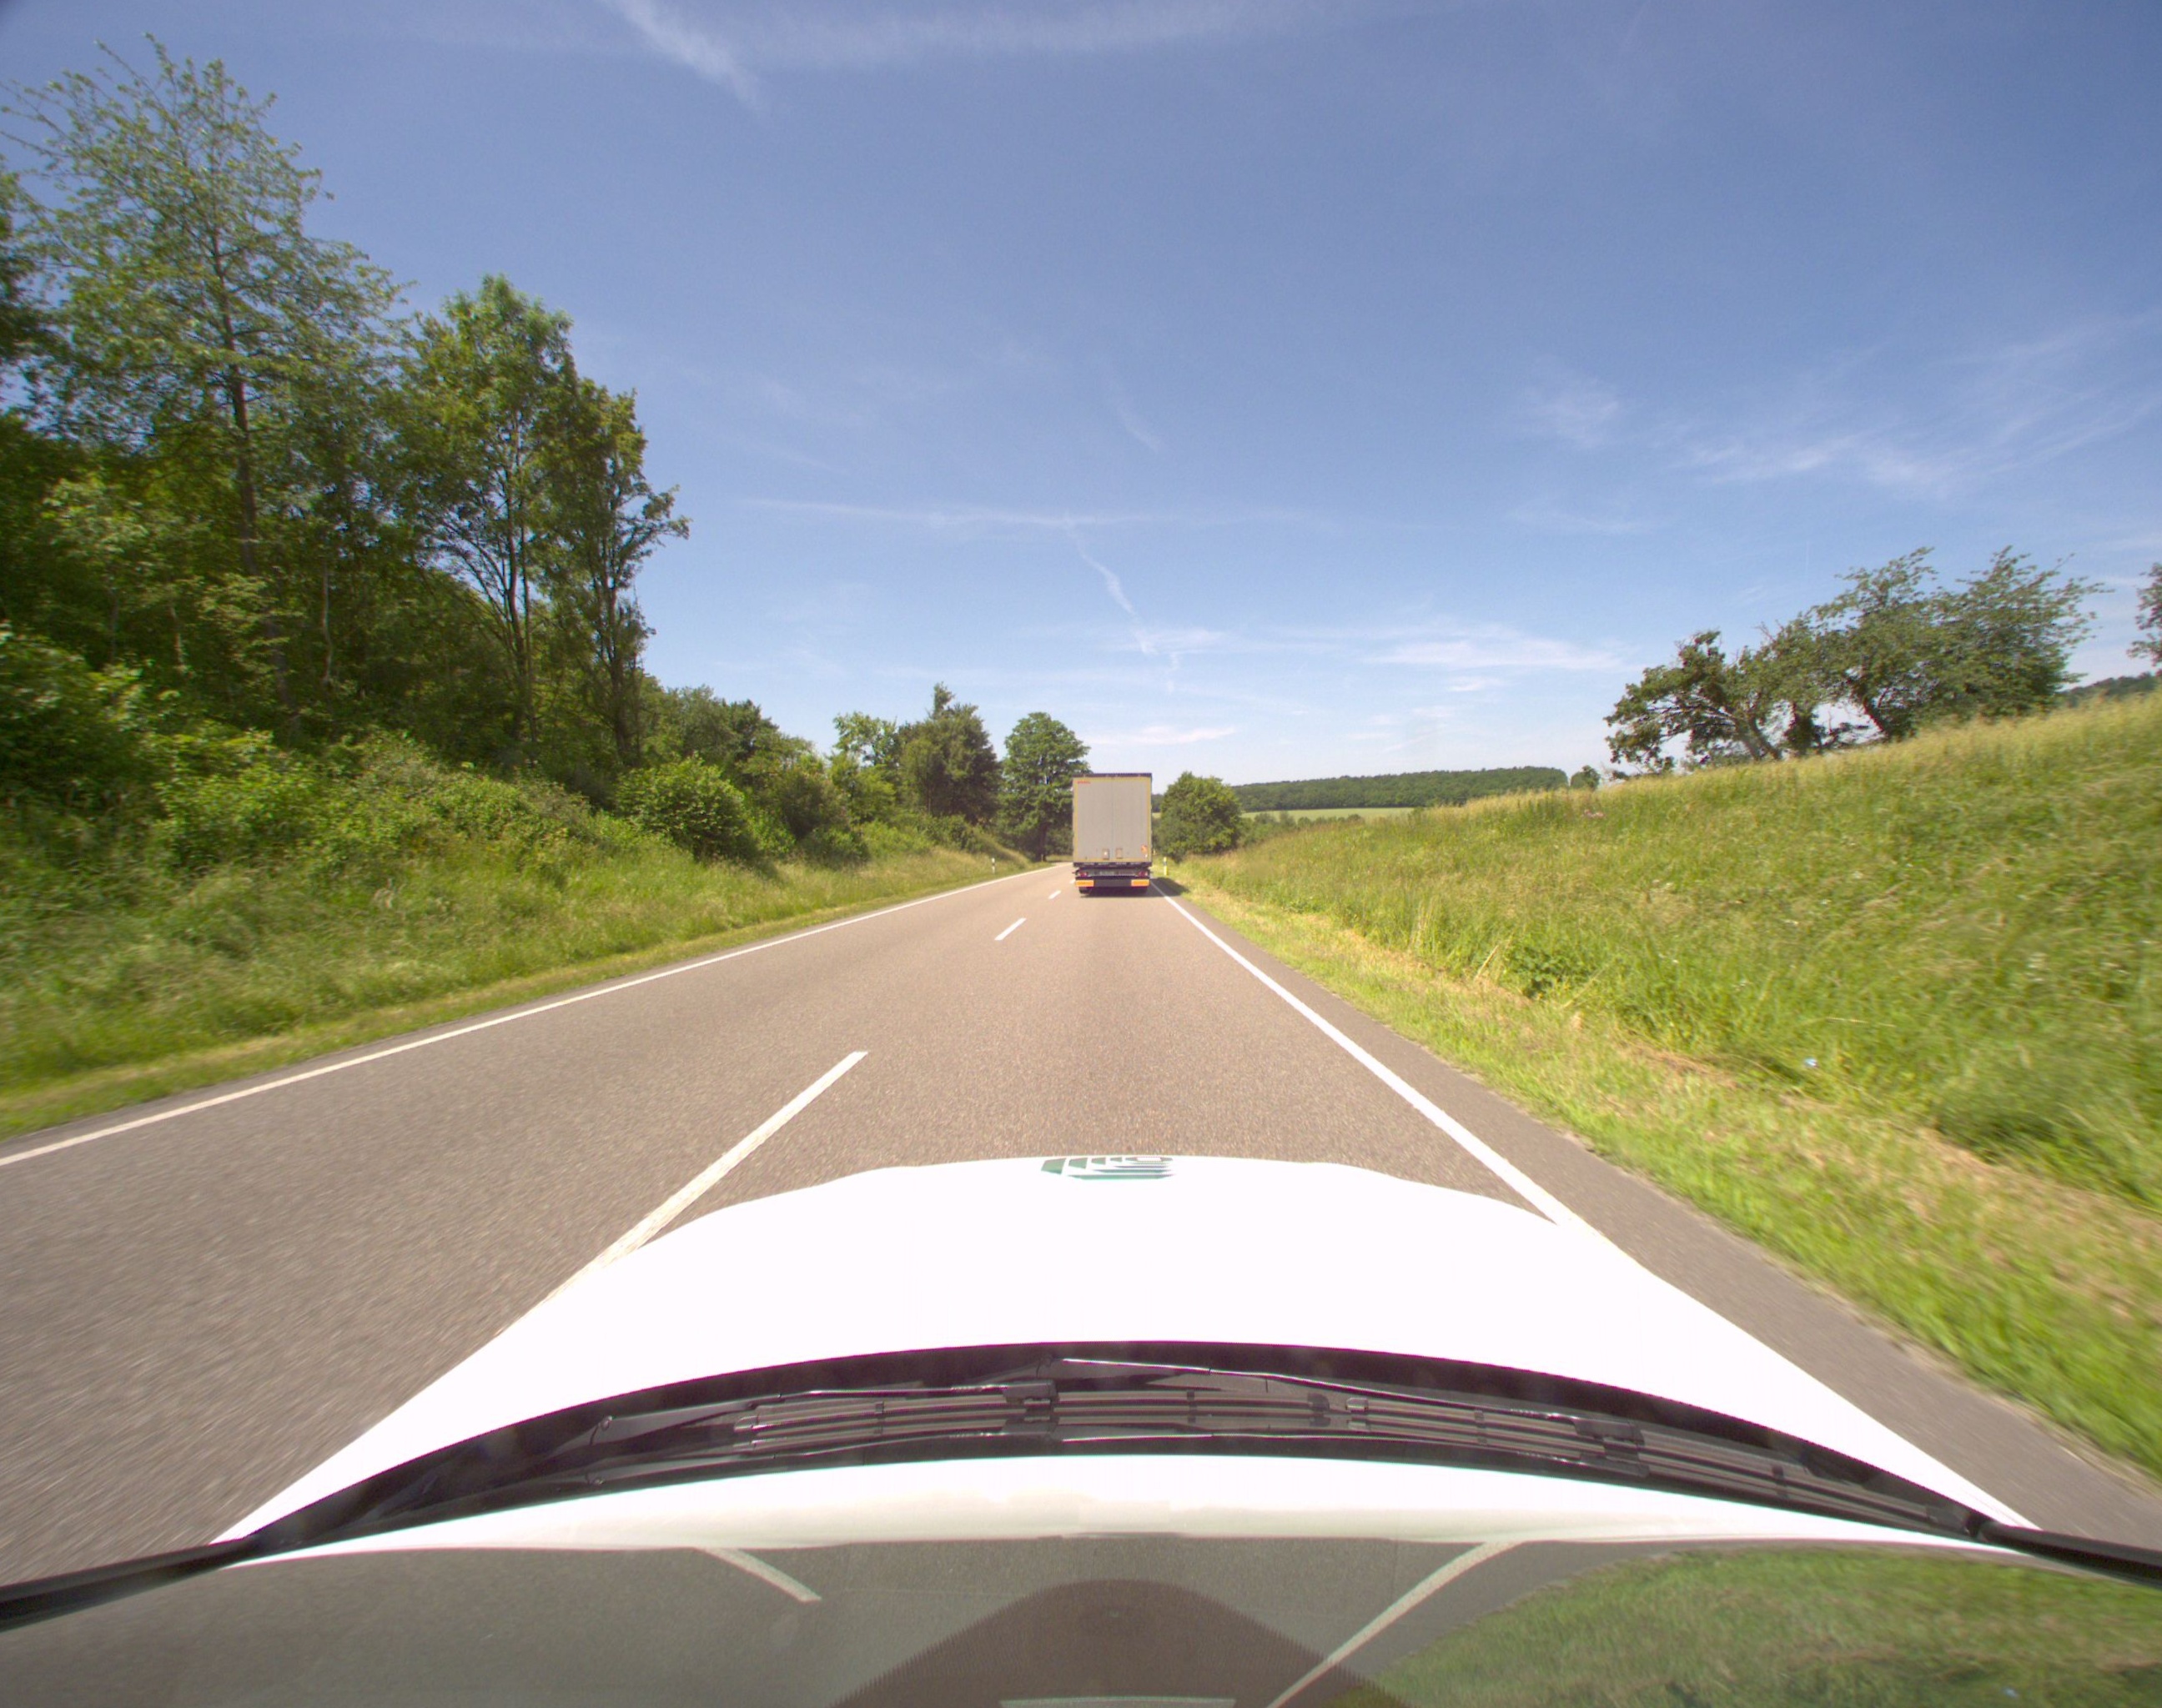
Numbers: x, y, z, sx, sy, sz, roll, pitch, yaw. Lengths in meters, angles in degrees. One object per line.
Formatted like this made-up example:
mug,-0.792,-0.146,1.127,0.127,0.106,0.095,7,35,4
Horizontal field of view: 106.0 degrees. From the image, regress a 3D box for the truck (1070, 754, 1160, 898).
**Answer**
truck,1.283,-0.935,31.799,2.807,4.532,11.773,-1,0,2
